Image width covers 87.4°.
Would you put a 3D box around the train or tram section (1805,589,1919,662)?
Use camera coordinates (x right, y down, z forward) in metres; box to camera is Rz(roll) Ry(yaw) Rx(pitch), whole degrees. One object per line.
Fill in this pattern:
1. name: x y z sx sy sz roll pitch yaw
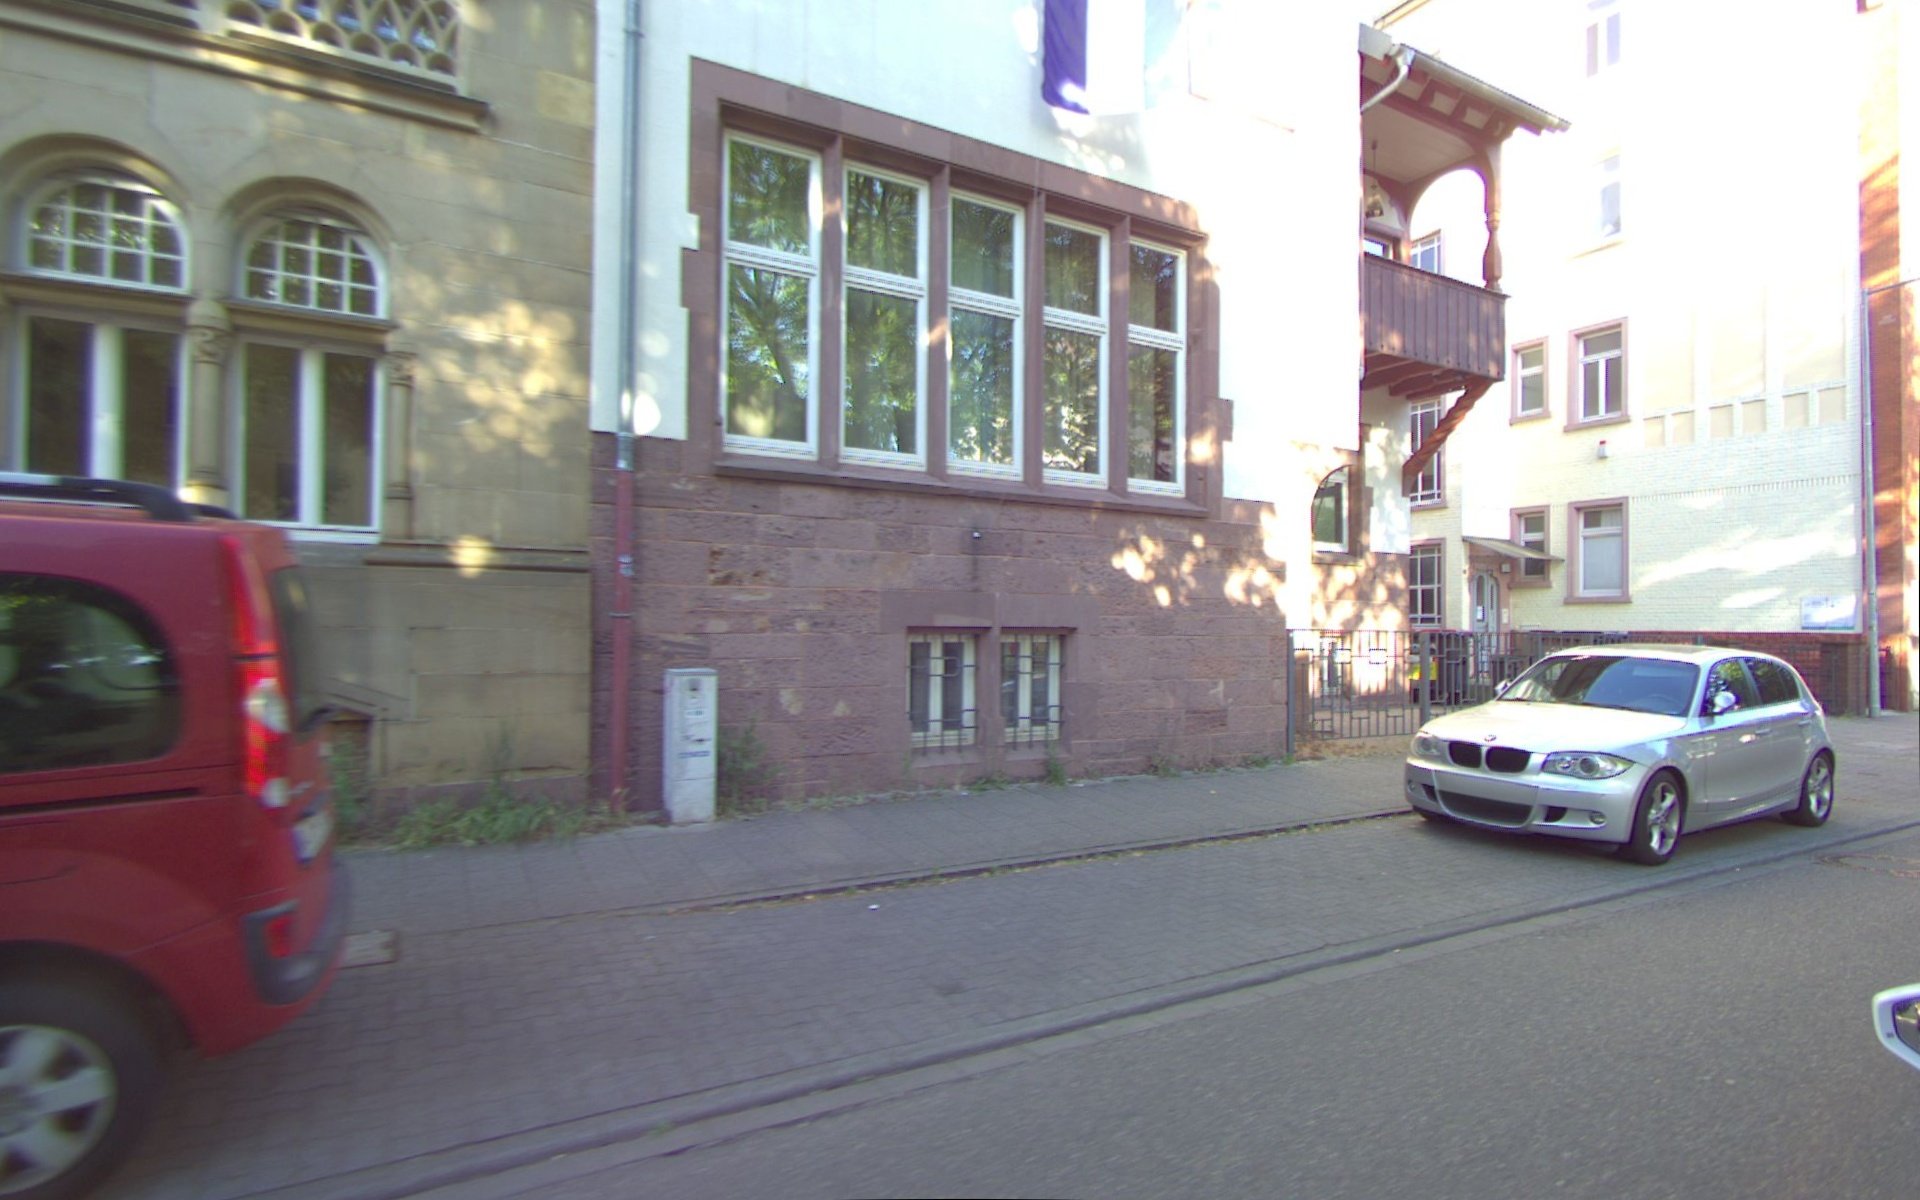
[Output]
1. train or tram section: 44.234 1.220 45.979 8.313 3.220 2.850 2 0 39

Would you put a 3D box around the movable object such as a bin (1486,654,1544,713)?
1. movable object such as a bin: 8.747 1.313 15.840 0.662 0.890 0.480 1 -1 -20

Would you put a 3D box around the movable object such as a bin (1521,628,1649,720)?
1. movable object such as a bin: 9.505 1.094 15.315 0.954 1.316 1.374 1 -1 -20

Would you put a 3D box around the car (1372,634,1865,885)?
1. car: 5.267 1.034 7.902 4.058 1.485 1.734 2 -1 -32

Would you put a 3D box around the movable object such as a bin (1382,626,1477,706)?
1. movable object such as a bin: 8.279 1.145 17.758 0.680 1.335 1.370 1 -1 -36

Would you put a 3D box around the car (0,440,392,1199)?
1. car: -3.909 0.544 2.515 4.273 1.932 1.790 2 0 -30
